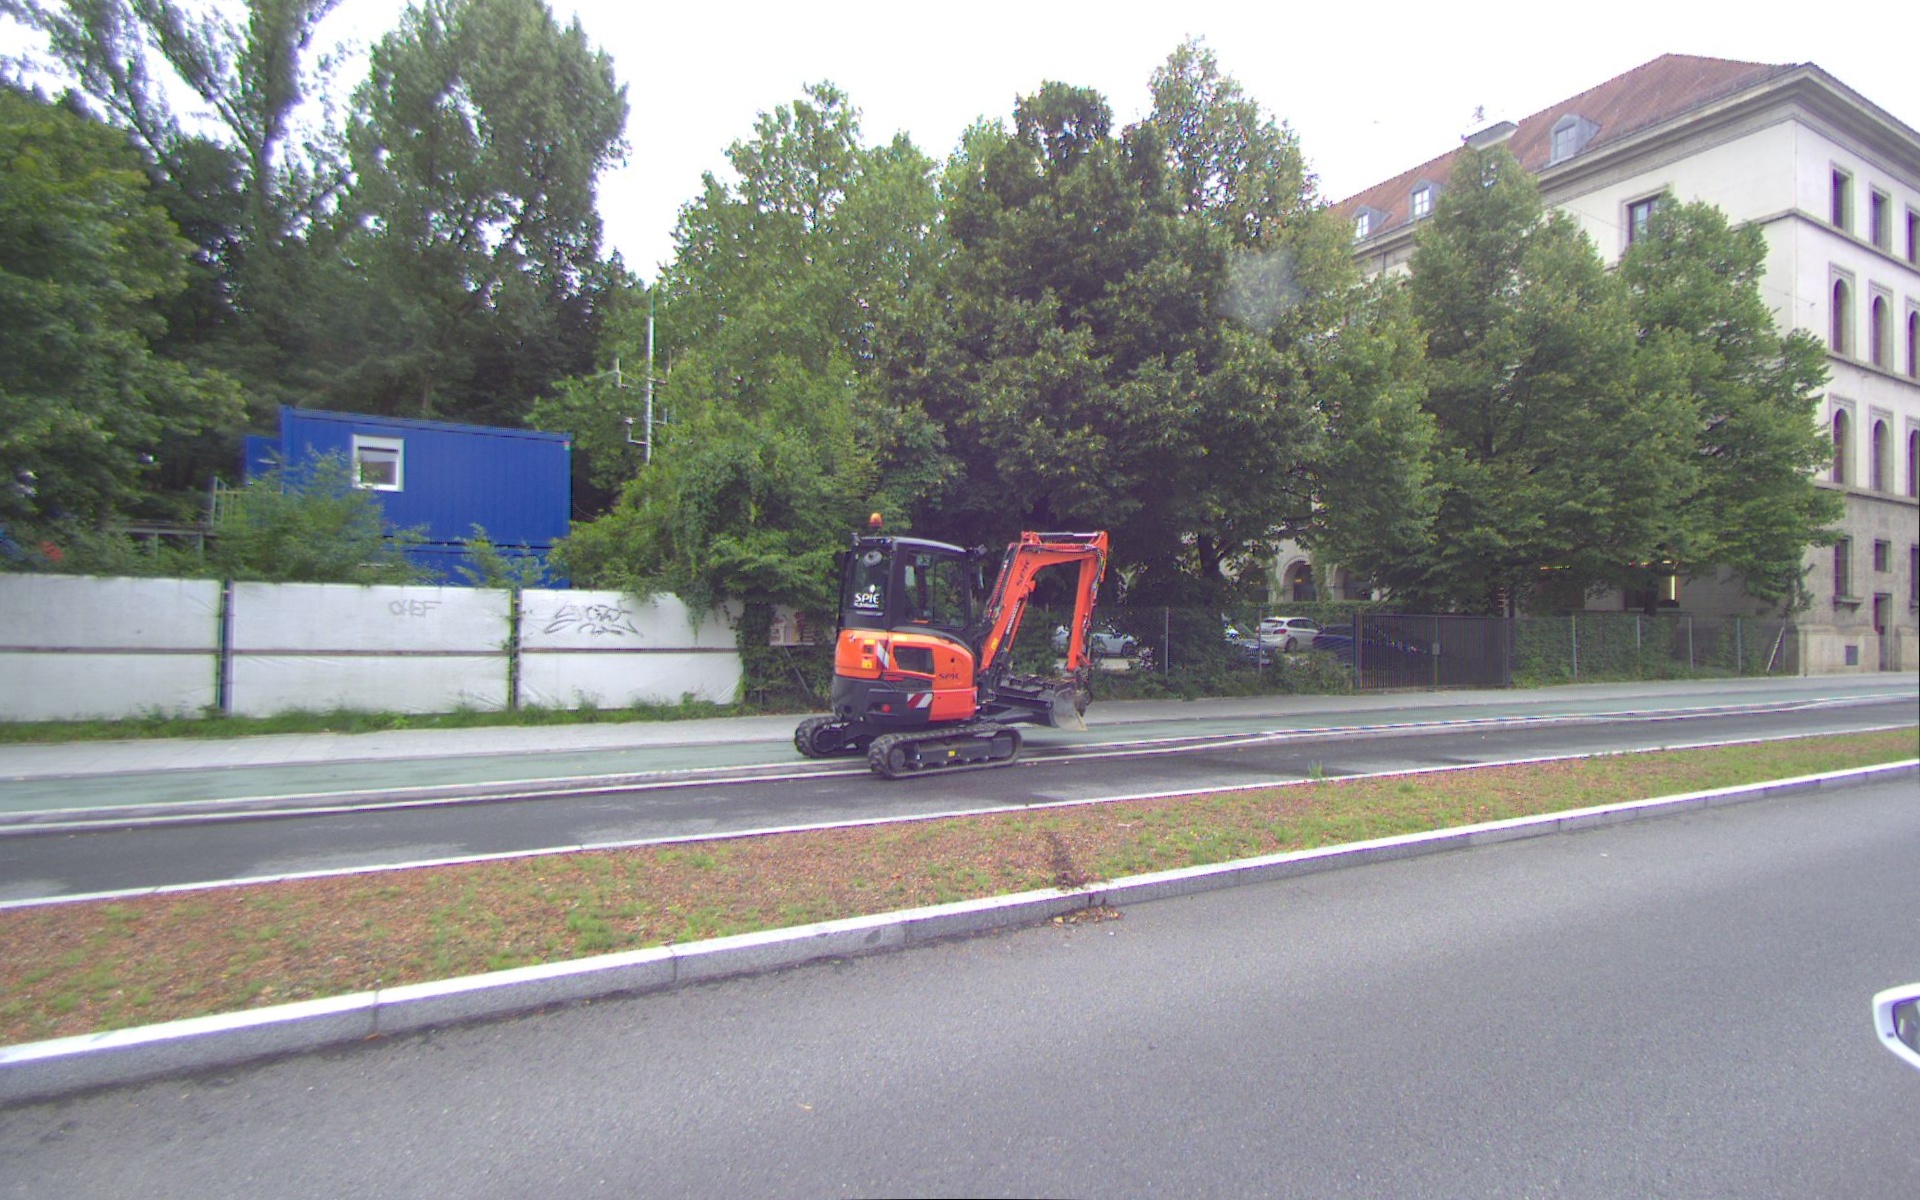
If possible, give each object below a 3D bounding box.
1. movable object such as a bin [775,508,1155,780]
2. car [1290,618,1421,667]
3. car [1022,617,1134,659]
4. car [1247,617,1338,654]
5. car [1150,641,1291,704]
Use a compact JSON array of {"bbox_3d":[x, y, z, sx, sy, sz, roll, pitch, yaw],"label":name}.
[{"bbox_3d":[0.248,0.496,12.231,1.973,2.676,4.636,-1,-2,45],"label":"movable object such as a bin"},{"bbox_3d":[13.457,1.417,34.353,1.815,1.565,3.908,1,-1,-31],"label":"car"},{"bbox_3d":[4.659,1.457,39.414,4.130,1.566,1.821,1,0,-31],"label":"car"},{"bbox_3d":[15.025,1.574,45.312,3.895,1.566,1.821,1,0,-31],"label":"car"},{"bbox_3d":[7.642,2.077,29.783,1.815,1.566,3.908,1,0,-31],"label":"car"}]
